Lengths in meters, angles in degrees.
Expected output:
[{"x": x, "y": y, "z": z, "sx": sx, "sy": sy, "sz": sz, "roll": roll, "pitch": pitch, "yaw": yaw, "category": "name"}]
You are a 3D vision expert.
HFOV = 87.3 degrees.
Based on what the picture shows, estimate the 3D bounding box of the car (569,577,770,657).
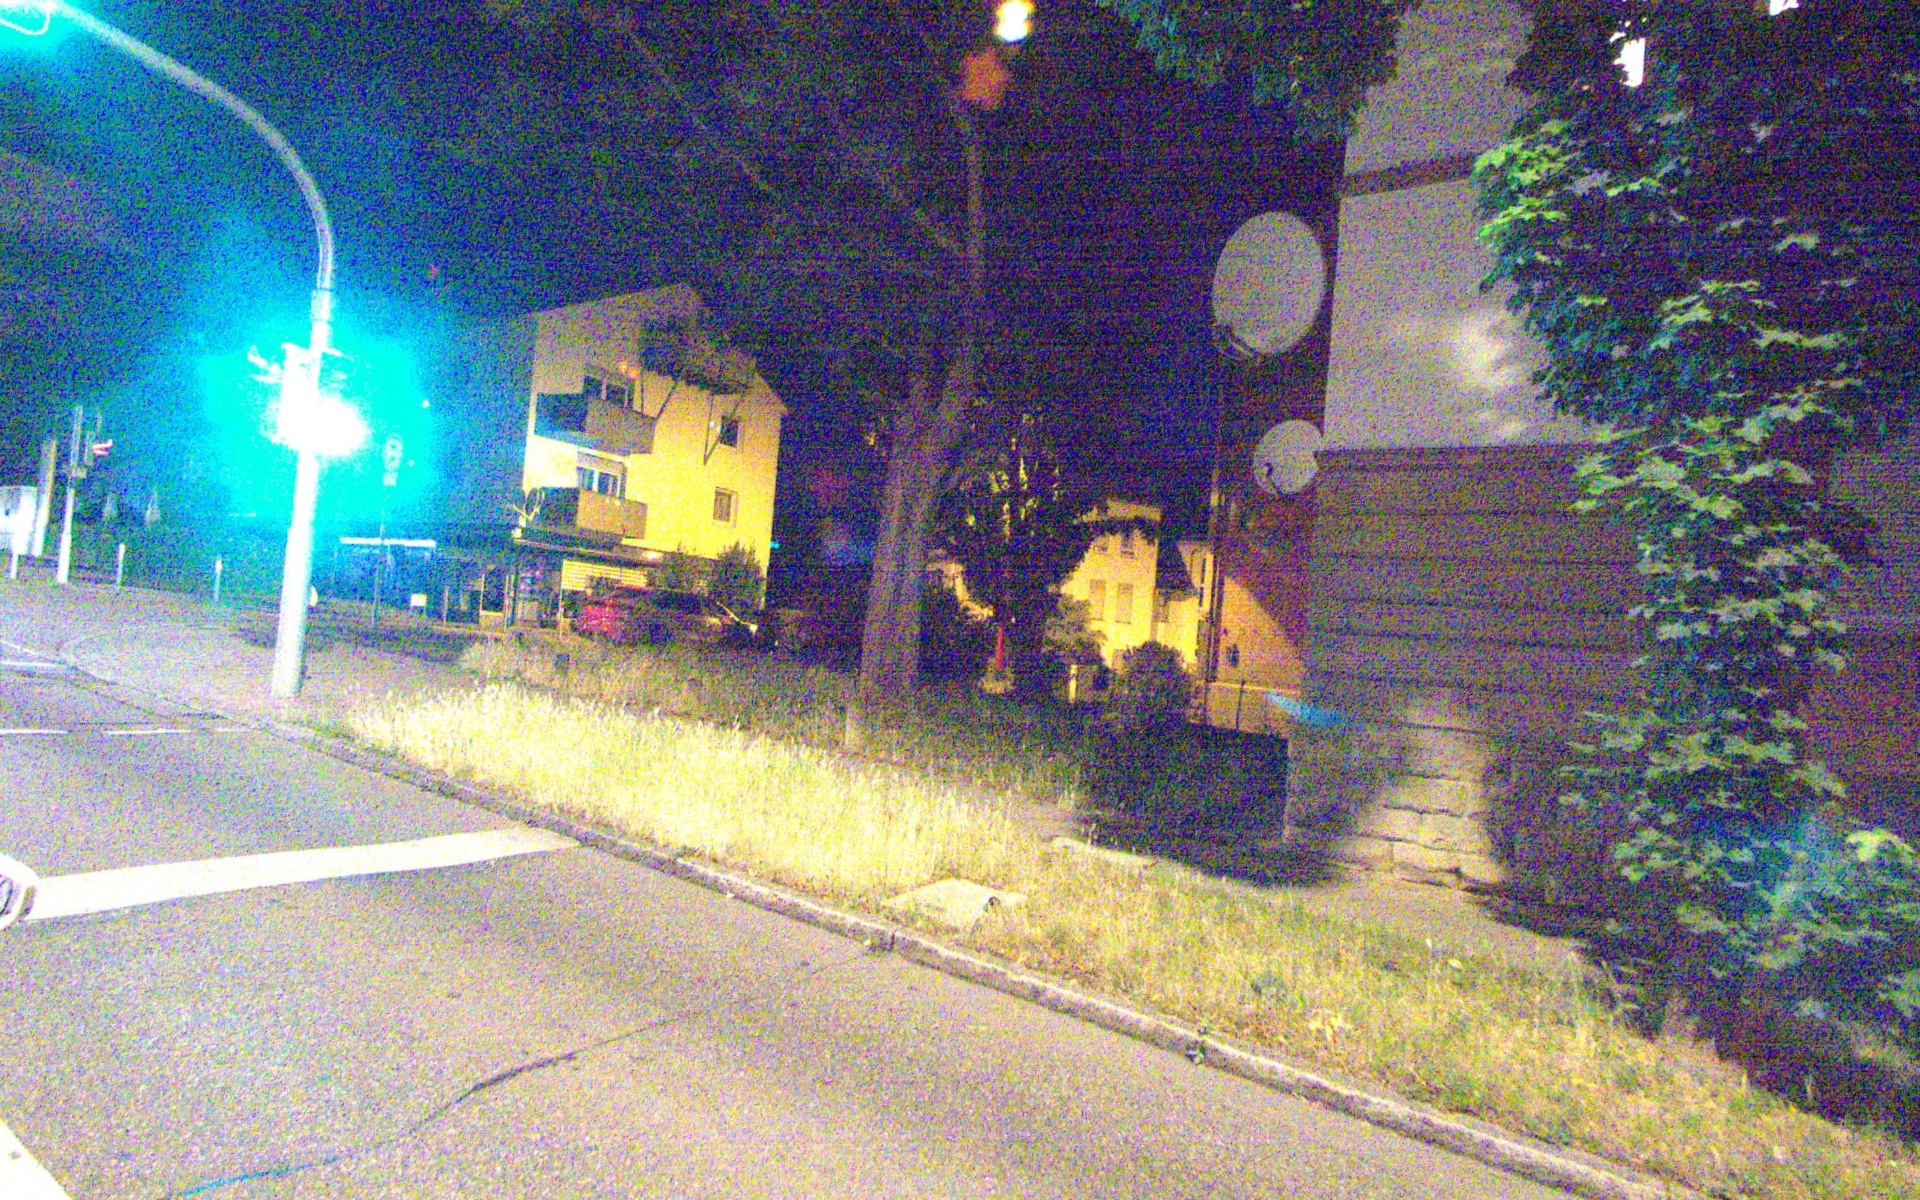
[{"x": -6.603, "y": 0.434, "z": 23.219, "sx": 1.740, "sy": 1.295, "sz": 4.131, "roll": 6, "pitch": -3, "yaw": 39, "category": "car"}]
